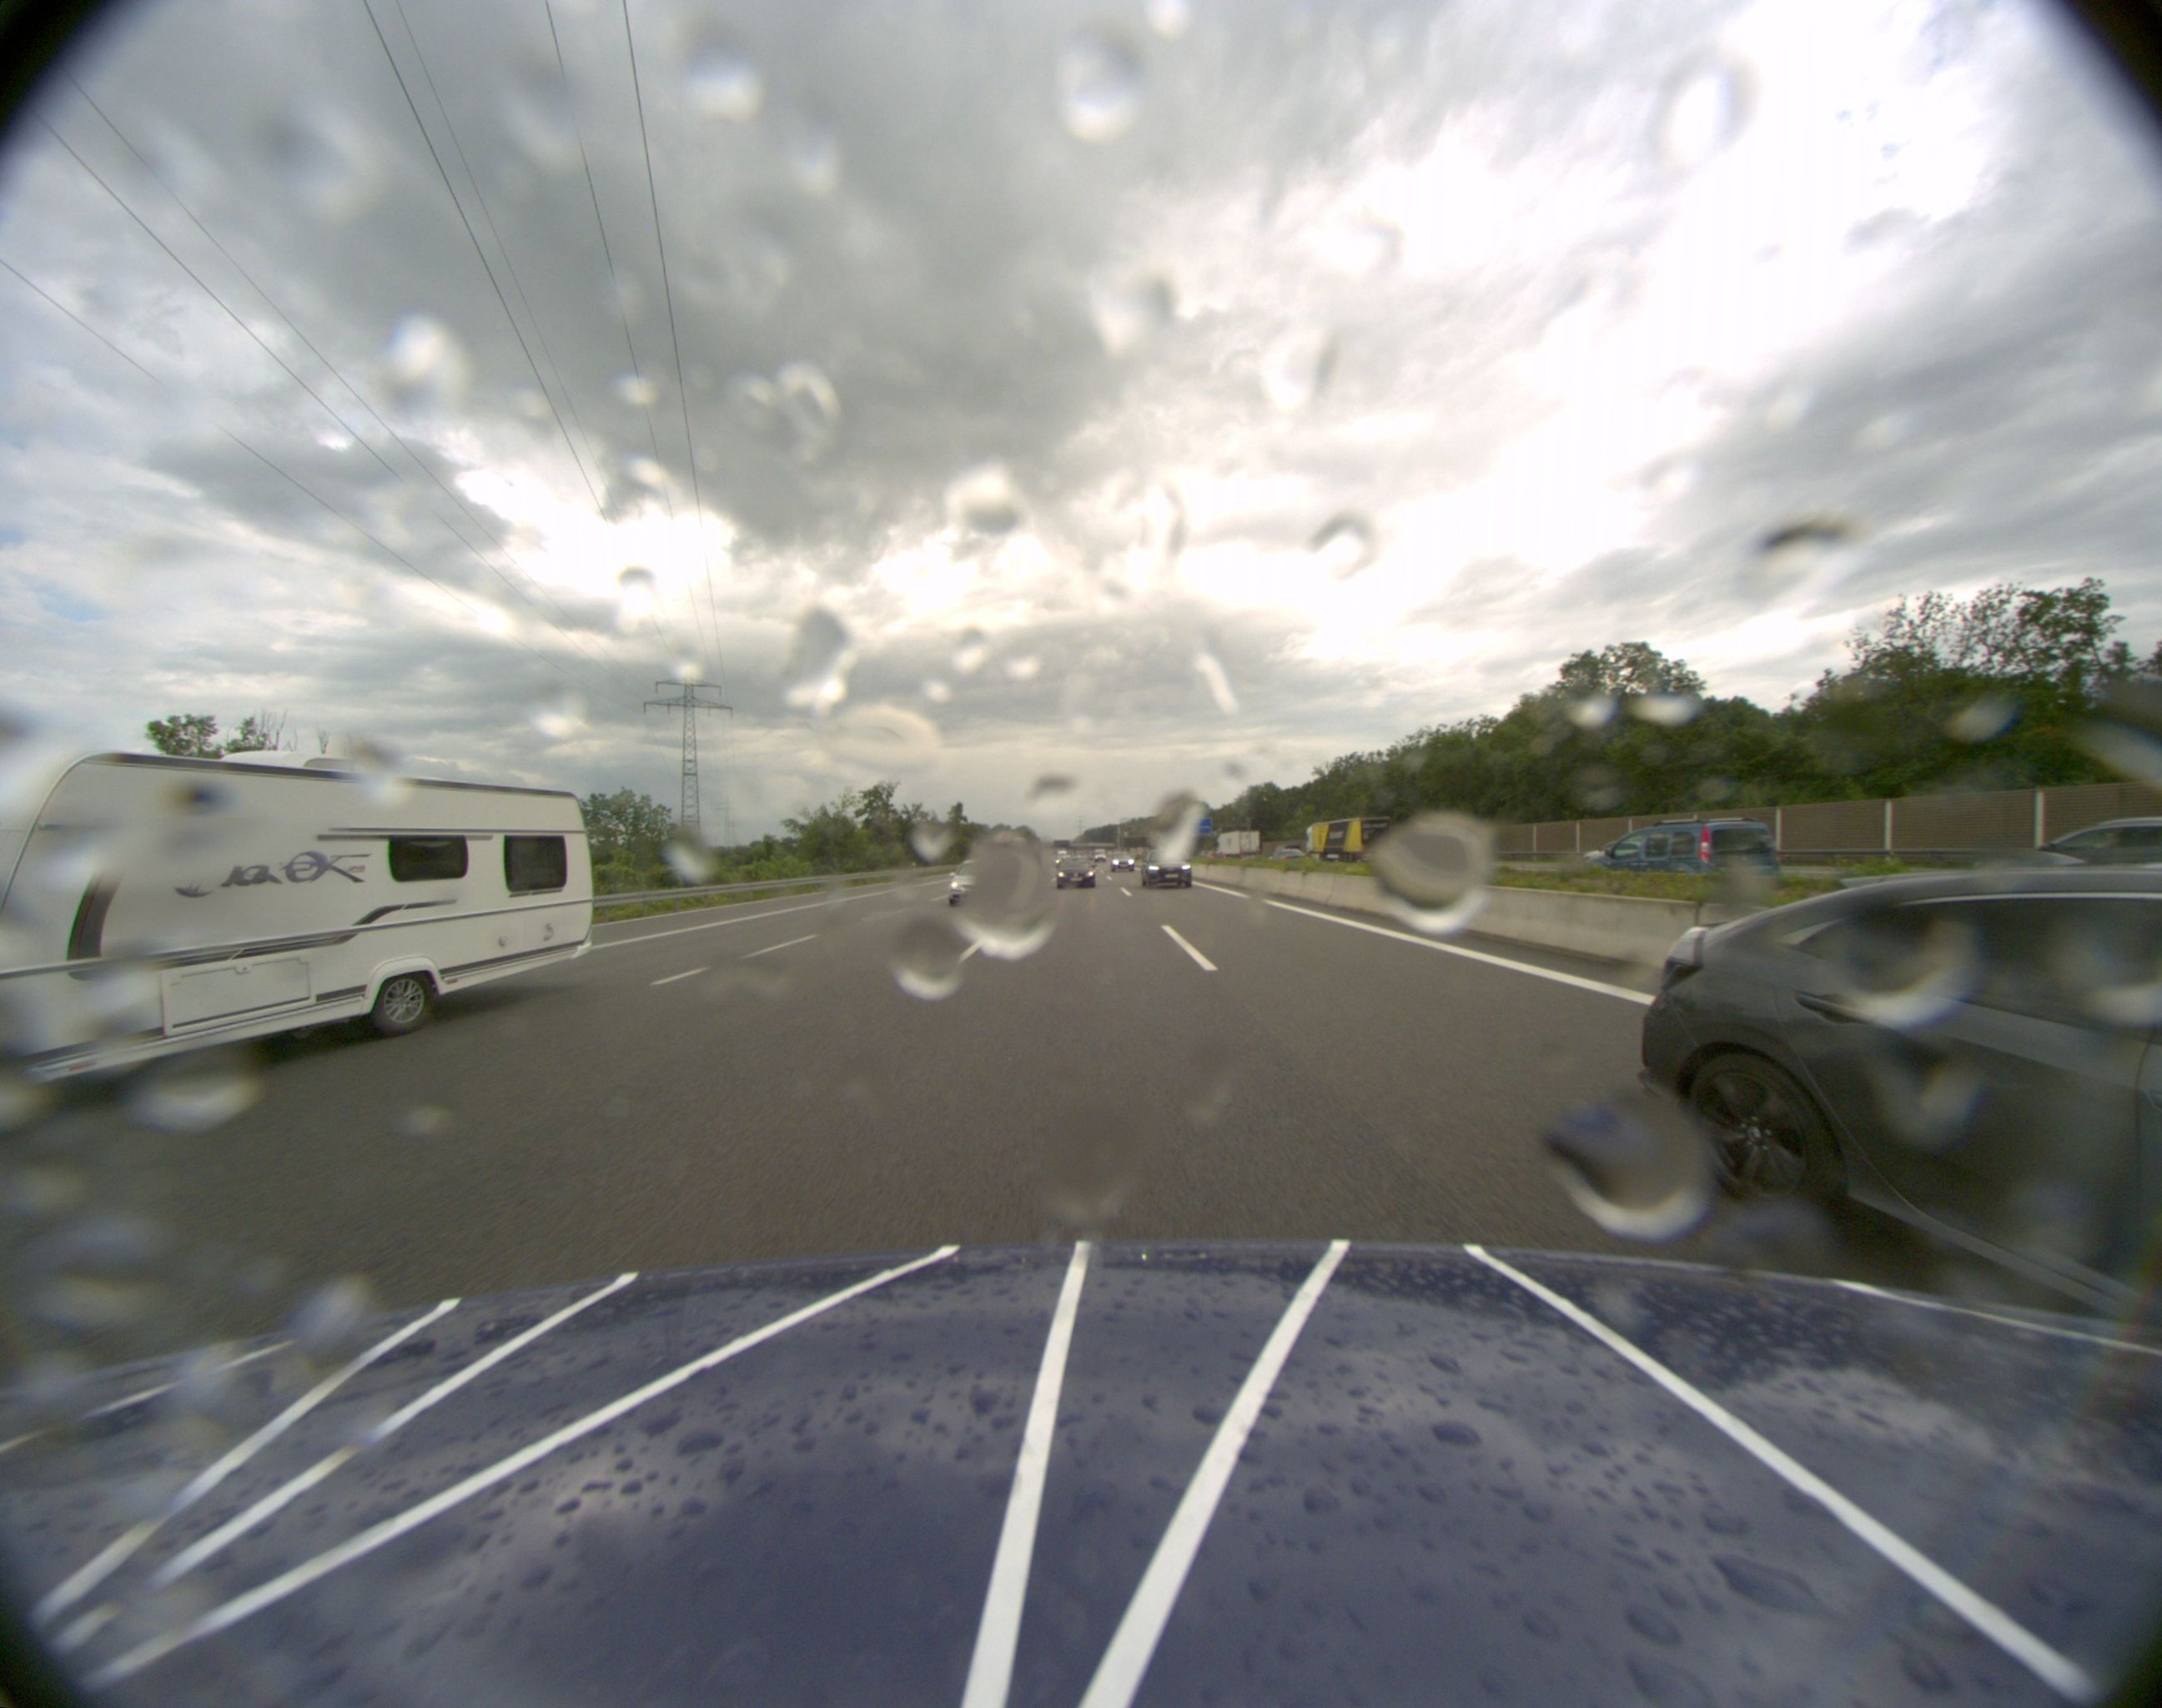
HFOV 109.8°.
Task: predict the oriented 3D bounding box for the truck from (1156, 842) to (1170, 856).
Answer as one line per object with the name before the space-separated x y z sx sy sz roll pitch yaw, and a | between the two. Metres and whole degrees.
truck | 17.738 -1.152 164.620 2.335 2.812 6.248 -2 1 0

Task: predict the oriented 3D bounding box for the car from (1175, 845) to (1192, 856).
car | 14.656 -0.490 109.191 1.770 1.528 4.582 -2 1 0

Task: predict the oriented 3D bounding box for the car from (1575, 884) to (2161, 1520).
car | 3.435 0.880 1.387 1.765 1.361 5.059 -2 0 0

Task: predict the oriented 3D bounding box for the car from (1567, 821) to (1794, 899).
car | 13.761 0.094 17.855 1.770 1.528 4.482 -2 1 0

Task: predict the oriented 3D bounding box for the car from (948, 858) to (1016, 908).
car | -3.273 0.919 25.776 1.683 1.437 4.000 -2 1 1

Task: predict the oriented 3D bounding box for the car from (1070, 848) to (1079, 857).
car | -1.695 -0.427 194.089 1.998 2.002 4.000 -2 1 1

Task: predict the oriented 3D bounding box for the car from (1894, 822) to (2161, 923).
car | 17.615 0.259 13.044 1.770 1.528 5.160 -2 1 0

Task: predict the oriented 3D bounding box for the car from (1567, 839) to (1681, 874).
car | 25.891 0.074 36.519 1.770 1.487 5.160 -2 1 0

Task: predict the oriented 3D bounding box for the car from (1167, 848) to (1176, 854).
car | 25.568 -0.957 213.768 1.998 1.528 3.999 -2 1 0

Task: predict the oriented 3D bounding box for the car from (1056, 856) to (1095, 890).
car | -0.202 0.850 36.208 1.717 1.437 4.000 -2 1 1

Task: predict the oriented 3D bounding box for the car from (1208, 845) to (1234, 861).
car | 14.338 -0.141 78.098 1.770 1.528 4.582 -2 1 0

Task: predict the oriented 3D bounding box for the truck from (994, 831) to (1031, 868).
truck | -7.388 -0.520 83.457 2.870 3.633 9.593 -2 1 1

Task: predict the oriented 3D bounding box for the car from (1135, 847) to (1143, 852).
car | 17.996 -1.437 234.768 1.998 1.528 3.999 -2 1 0

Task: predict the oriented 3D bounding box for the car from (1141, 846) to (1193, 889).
car | 3.746 0.534 33.778 1.913 1.681 5.169 -2 1 3

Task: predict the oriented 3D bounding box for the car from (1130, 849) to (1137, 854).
car | 17.141 -0.757 249.982 1.998 1.528 3.999 -2 1 0

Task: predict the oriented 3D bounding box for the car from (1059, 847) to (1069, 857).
car | -3.700 -0.429 168.849 1.998 2.002 4.000 -2 1 1

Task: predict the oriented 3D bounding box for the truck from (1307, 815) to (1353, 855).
truck | 25.732 -1.918 78.824 2.684 3.941 6.442 -2 1 1

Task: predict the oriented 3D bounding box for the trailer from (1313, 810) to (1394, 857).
trailer | 25.663 -1.849 72.526 2.684 3.941 14.051 -2 1 1

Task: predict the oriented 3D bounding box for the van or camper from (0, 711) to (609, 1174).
van or camper | -7.589 0.537 6.618 2.390 2.723 7.207 -2 1 -1

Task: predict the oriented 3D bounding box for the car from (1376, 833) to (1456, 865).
car | 18.004 -0.259 41.219 1.770 1.540 5.712 -2 1 0

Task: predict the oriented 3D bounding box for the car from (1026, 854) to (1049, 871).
car | -3.960 0.738 69.779 1.840 1.437 4.000 -2 1 1

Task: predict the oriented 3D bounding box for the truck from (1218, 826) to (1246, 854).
truck | 21.781 -1.977 109.733 2.732 3.863 6.003 -2 1 0

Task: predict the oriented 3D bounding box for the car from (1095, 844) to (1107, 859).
car | 3.585 -0.428 135.939 1.998 2.524 4.808 -2 1 1

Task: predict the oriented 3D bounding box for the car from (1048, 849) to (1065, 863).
car | -3.157 0.223 98.082 1.998 1.701 3.999 -2 1 0

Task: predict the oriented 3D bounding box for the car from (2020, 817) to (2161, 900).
car | 21.176 0.064 13.837 1.770 1.528 5.160 -2 1 0

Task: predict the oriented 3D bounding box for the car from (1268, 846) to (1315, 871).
car | 14.451 0.260 52.449 1.770 1.528 5.160 -2 1 0

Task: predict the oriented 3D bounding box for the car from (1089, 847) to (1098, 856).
car | 2.908 -0.529 181.056 1.998 2.002 4.000 -2 1 1

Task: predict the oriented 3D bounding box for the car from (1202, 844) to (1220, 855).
car | 18.392 -0.633 107.579 1.763 1.528 3.999 -2 1 0

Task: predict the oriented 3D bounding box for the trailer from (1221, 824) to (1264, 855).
trailer | 21.768 -1.905 103.566 2.732 3.863 14.050 -2 1 0

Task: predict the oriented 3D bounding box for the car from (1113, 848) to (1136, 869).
car | 3.718 0.367 64.678 1.840 1.615 4.915 -2 1 3

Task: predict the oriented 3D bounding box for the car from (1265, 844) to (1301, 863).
car | 17.787 -0.077 67.135 1.770 1.528 5.239 -2 1 0
